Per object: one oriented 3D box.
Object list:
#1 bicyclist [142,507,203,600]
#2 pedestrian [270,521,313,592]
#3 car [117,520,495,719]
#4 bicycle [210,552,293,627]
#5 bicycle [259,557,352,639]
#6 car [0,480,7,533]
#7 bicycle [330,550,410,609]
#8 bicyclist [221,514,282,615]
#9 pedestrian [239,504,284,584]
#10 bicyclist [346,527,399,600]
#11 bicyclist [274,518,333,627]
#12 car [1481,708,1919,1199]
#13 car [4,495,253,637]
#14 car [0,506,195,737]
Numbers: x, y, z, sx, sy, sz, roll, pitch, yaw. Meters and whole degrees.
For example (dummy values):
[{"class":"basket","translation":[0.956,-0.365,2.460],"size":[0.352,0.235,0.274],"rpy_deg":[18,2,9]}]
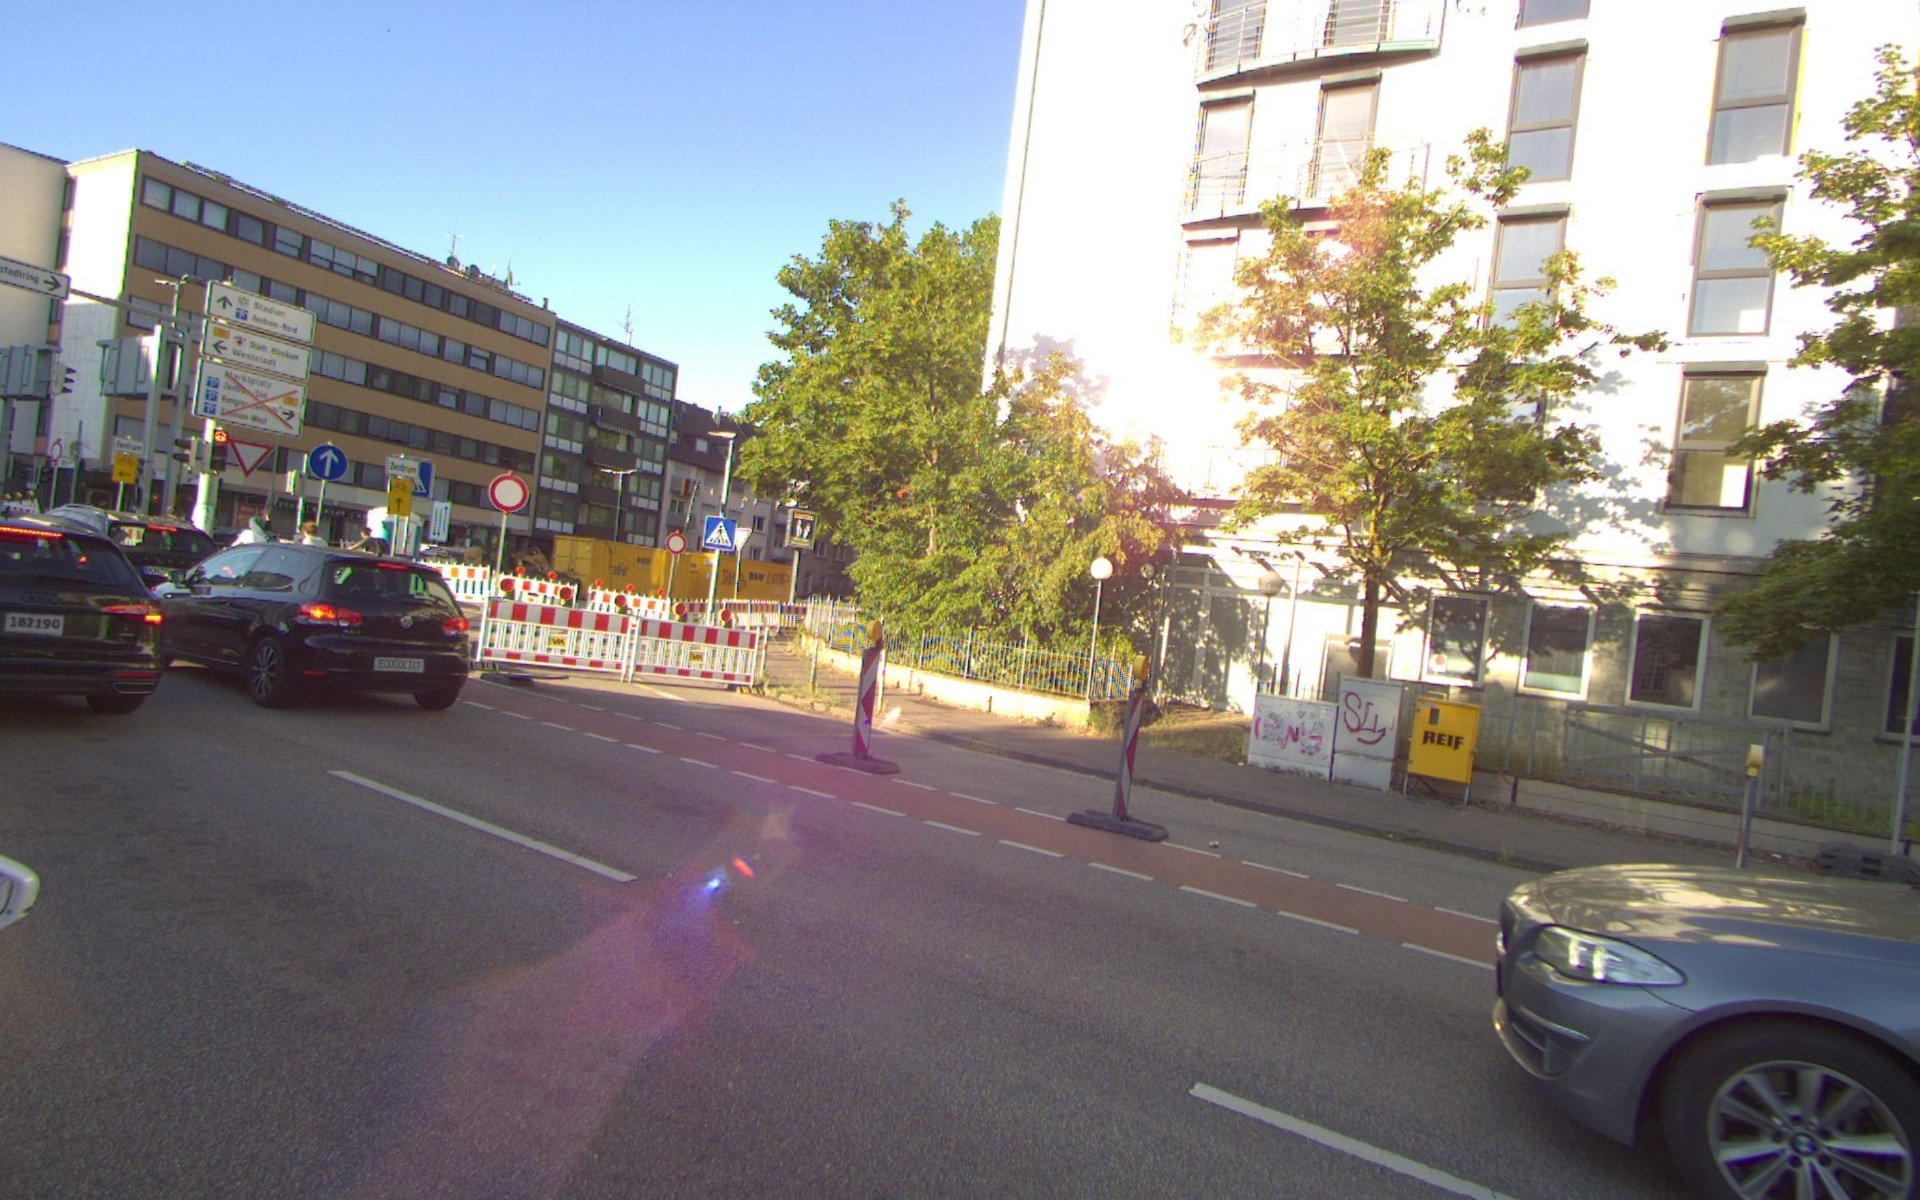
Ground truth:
[{"class":"bicyclist","translation":[-13.958,-0.825,17.826],"size":[0.713,1.544,0.514],"rpy_deg":[7,0,32]},{"class":"pedestrian","translation":[-16.676,-1.073,25.104],"size":[0.446,1.691,0.604],"rpy_deg":[7,0,15]},{"class":"car","translation":[-6.606,0.172,10.091],"size":[3.683,1.466,1.637],"rpy_deg":[7,-2,32]},{"class":"bicycle","translation":[-11.484,-0.176,16.282],"size":[1.825,1.020,0.337],"rpy_deg":[7,0,32]},{"class":"bicycle","translation":[-9.794,-0.044,15.021],"size":[1.825,1.020,0.337],"rpy_deg":[7,0,32]},{"class":"car","translation":[-34.701,-3.445,33.230],"size":[1.962,1.839,4.232],"rpy_deg":[7,-1,11]},{"class":"bicycle","translation":[-13.981,-0.482,23.869],"size":[1.480,1.174,0.372],"rpy_deg":[9,-1,-22]},{"class":"bicyclist","translation":[-11.503,-0.570,16.328],"size":[0.713,1.544,0.441],"rpy_deg":[7,0,32]},{"class":"pedestrian","translation":[-17.037,-1.349,24.538],"size":[0.478,1.857,0.571],"rpy_deg":[7,0,24]},{"class":"bicyclist","translation":[-13.932,-0.856,23.870],"size":[0.803,1.608,0.616],"rpy_deg":[8,0,-22]},{"class":"bicyclist","translation":[-9.811,-0.406,15.039],"size":[0.474,1.544,0.441],"rpy_deg":[7,0,31]},{"class":"car","translation":[4.162,1.393,2.872],"size":[4.587,1.466,1.819],"rpy_deg":[7,-1,29]},{"class":"car","translation":[-11.101,-0.466,13.399],"size":[3.250,1.467,1.507],"rpy_deg":[7,0,32]},{"class":"car","translation":[-7.673,-0.049,7.472],"size":[4.144,1.437,1.685],"rpy_deg":[7,-2,32]}]
